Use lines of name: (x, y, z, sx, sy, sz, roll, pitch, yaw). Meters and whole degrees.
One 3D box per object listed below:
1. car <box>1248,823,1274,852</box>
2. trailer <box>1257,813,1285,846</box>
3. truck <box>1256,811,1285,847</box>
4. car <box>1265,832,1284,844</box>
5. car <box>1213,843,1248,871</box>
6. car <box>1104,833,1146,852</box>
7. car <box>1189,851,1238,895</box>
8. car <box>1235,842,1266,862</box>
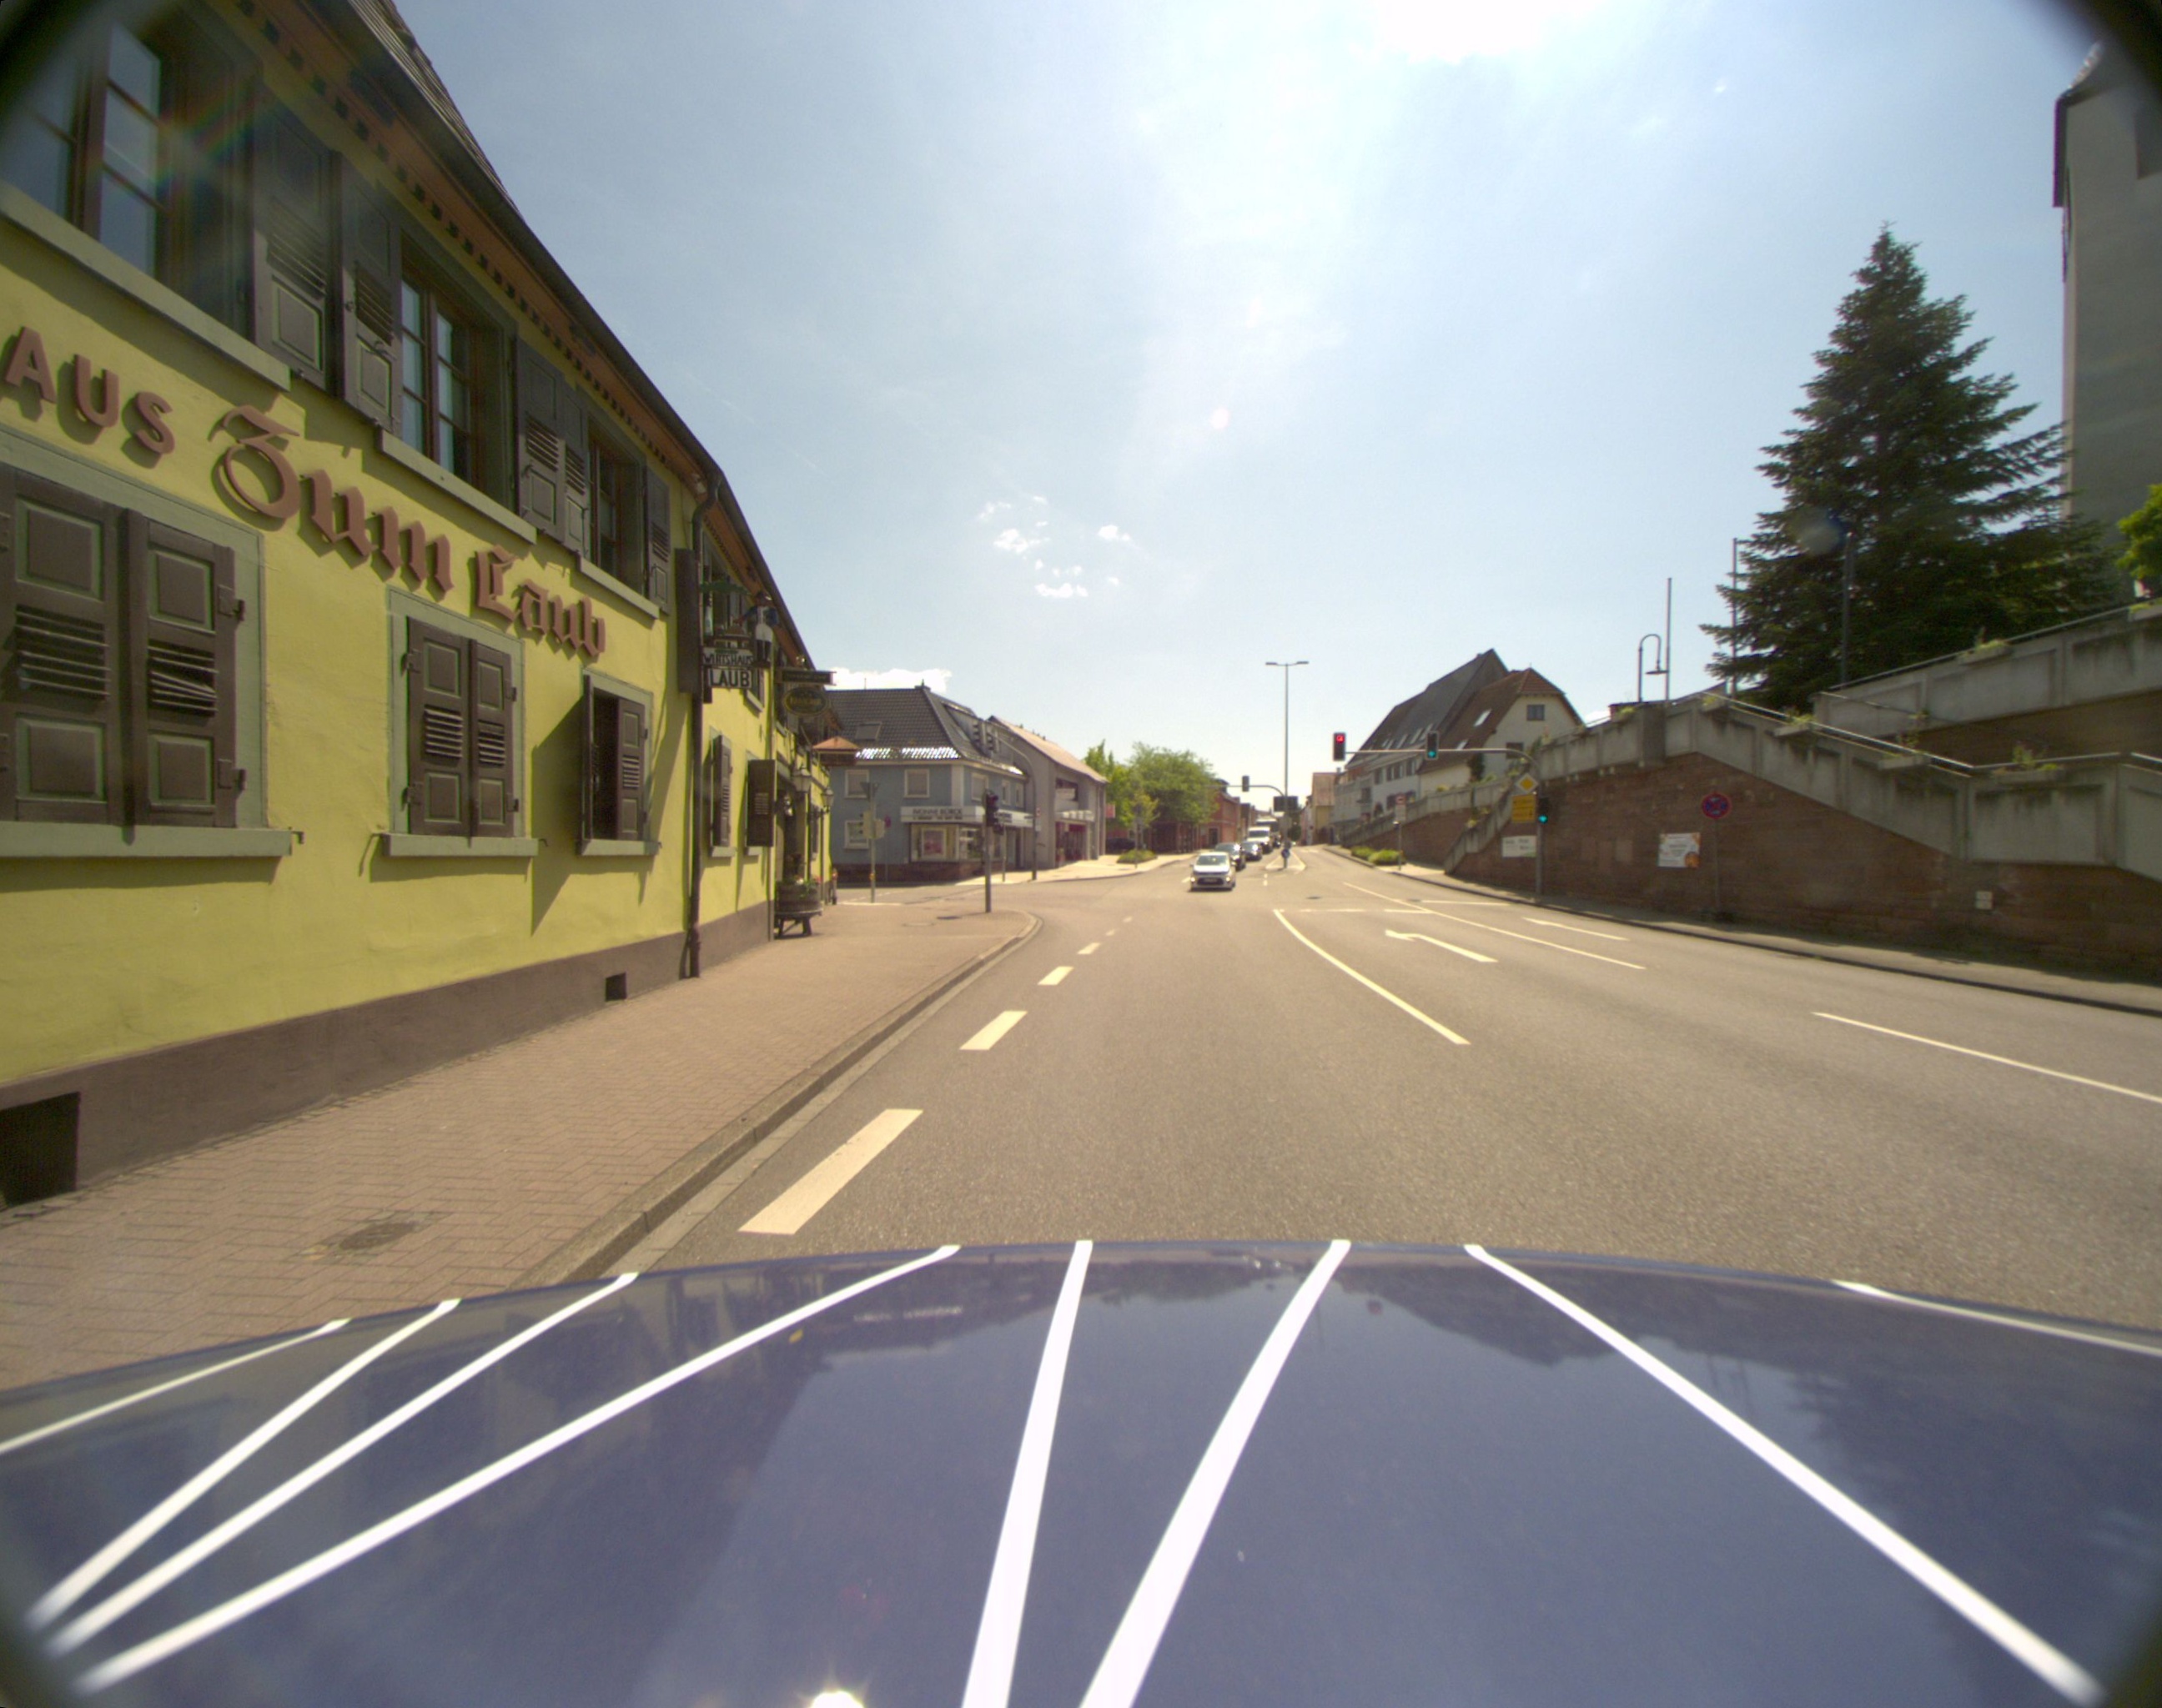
car: (16.117, -1.437, 67.800, 2.172, 2.549, 4.829, 0, 1, 15)
trailer: (21.683, -2.666, 86.252, 2.834, 3.549, 10.977, 0, 1, 15)
truck: (20.013, -2.559, 79.971, 2.844, 3.549, 5.474, 0, 1, 15)
car: (28.083, -2.340, 110.047, 2.008, 1.621, 4.585, 0, 1, 22)
car: (9.146, 0.160, 46.255, 1.722, 1.542, 4.308, -1, 1, 16)
car: (4.186, -1.095, 72.408, 3.757, 1.701, 1.726, -2, 1, 10)
car: (5.448, 0.720, 30.909, 1.723, 1.542, 4.307, -1, 1, 13)
car: (12.615, -0.176, 56.385, 1.927, 1.358, 4.308, -1, 1, 16)
